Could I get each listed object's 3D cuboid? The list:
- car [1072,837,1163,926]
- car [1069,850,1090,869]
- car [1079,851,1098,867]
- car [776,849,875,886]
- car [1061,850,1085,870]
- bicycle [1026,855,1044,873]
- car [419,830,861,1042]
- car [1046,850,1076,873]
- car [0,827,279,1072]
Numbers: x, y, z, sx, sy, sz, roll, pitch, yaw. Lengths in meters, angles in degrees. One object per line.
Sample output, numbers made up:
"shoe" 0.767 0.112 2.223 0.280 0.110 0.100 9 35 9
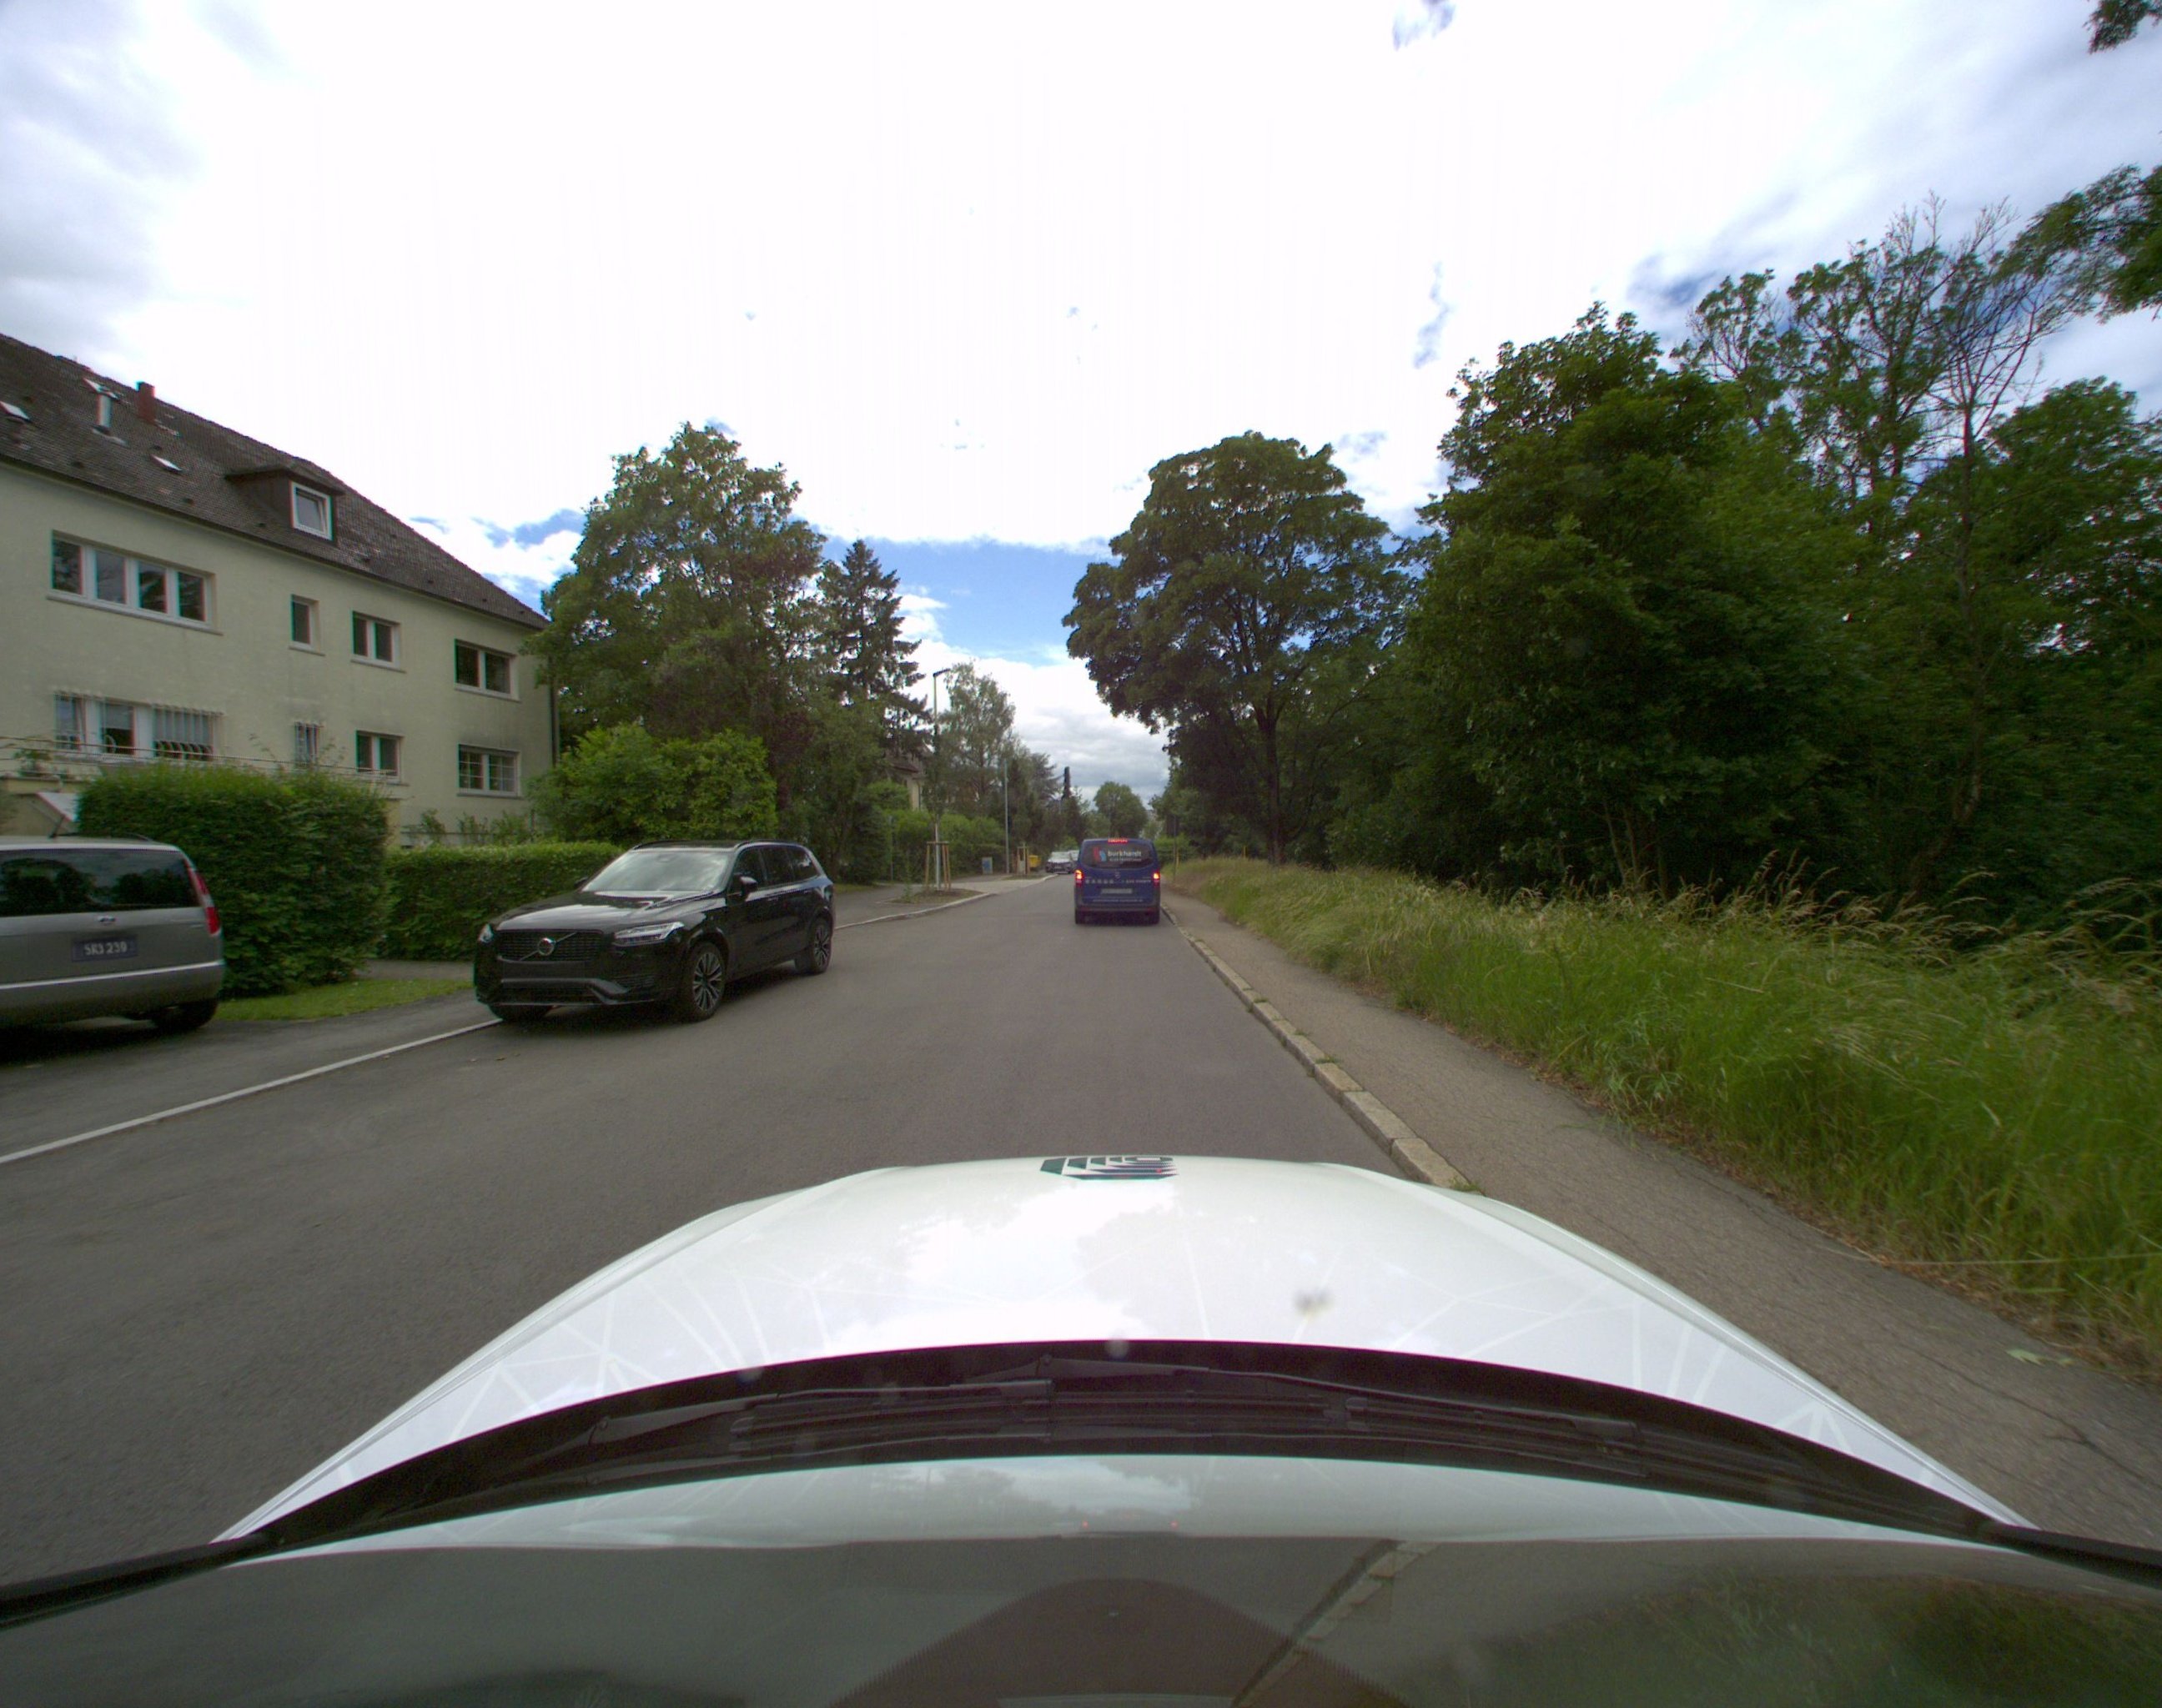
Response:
"car" 0.763 0.530 19.008 1.883 1.844 4.000 1 1 0
"car" -0.124 0.528 79.590 1.824 1.804 4.003 0 -1 3
"car" 0.898 0.560 95.051 1.883 1.692 4.555 0 2 4
"car" -11.885 0.607 38.008 3.968 1.593 1.871 1 0 5
"car" -0.657 0.506 73.437 1.823 1.751 4.005 0 0 4
"bicycle" -3.244 0.699 57.699 0.902 1.252 2.919 1 0 4
"car" -4.353 0.667 9.309 1.966 1.737 5.194 0 0 4
"car" -1.466 0.561 60.546 1.828 1.631 4.305 0 0 4
"car" -8.829 0.640 6.467 3.666 1.637 1.835 0 0 14
